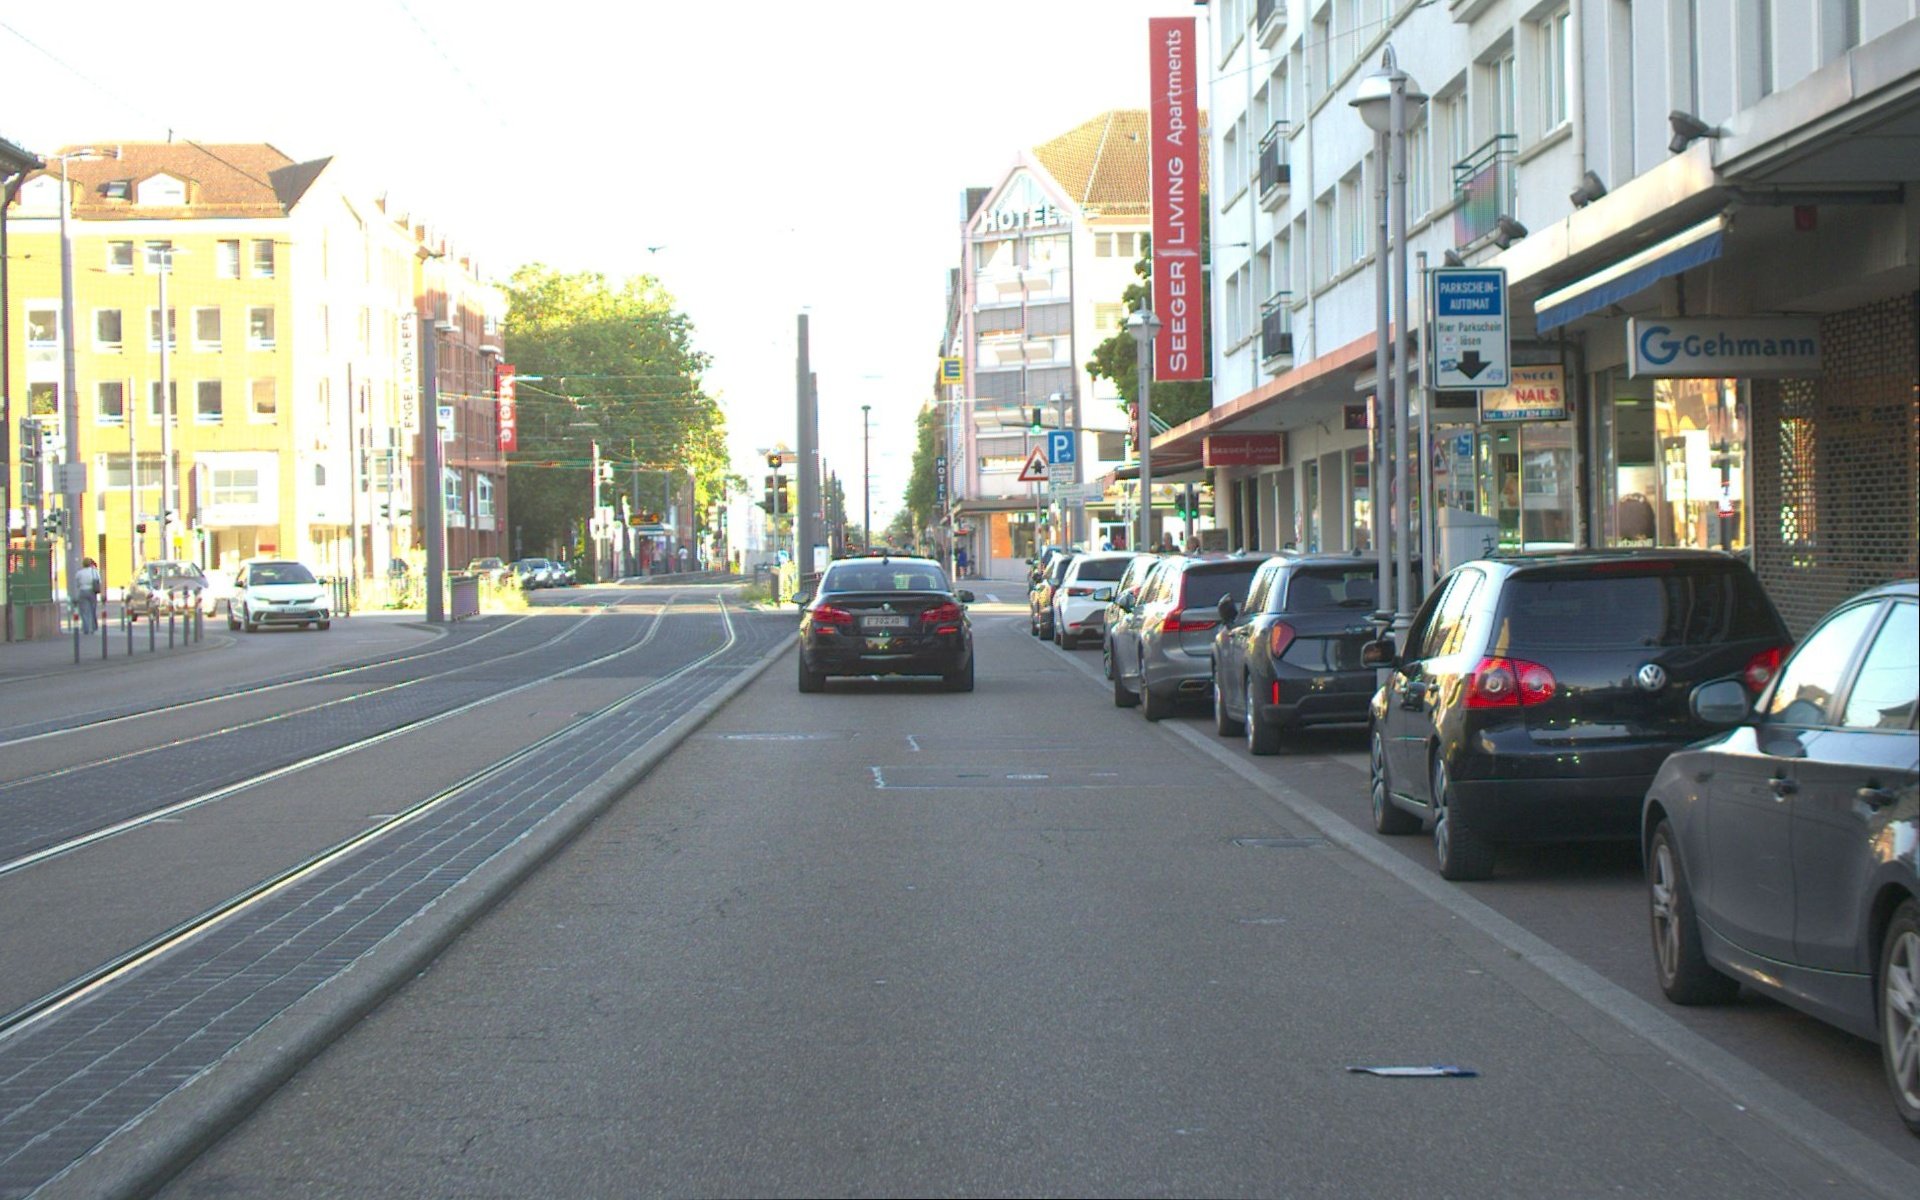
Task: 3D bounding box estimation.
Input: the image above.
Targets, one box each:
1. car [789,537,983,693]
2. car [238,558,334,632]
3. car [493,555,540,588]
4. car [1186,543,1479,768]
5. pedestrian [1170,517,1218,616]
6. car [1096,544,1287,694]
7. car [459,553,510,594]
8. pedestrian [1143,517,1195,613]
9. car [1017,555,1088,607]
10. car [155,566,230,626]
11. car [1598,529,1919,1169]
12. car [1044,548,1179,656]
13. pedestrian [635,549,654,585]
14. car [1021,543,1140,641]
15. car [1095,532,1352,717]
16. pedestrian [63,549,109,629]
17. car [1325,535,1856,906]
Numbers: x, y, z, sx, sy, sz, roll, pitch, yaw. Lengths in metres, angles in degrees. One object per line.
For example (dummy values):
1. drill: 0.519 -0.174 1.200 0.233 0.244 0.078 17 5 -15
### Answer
1. car: -0.812 0.122 37.881 1.993 1.579 4.000 -1 1 -1
2. car: -14.365 -0.126 73.105 1.805 1.507 4.036 -1 1 -14
3. car: -22.280 -1.447 172.656 1.993 1.579 4.588 -1 1 -3
4. car: 2.736 0.357 26.022 1.685 1.507 4.035 -2 1 0
5. pedestrian: 4.213 -0.608 61.989 0.728 1.735 0.863 -2 1 0
6. car: 2.508 0.163 38.186 1.735 1.507 4.303 -2 1 0
7. car: -22.413 -1.257 162.285 1.993 1.895 4.812 -1 1 -4
8. pedestrian: 3.824 -0.644 63.056 0.827 1.712 0.843 -2 1 0
9. car: 2.819 -0.600 105.787 1.993 1.546 4.000 -1 1 -1
10. car: -20.345 -0.125 91.231 1.735 1.507 4.036 -1 1 -10
11. car: 3.124 0.550 9.747 1.744 1.507 4.258 -2 1 0
12. car: 2.278 0.004 52.428 1.785 1.507 4.052 -2 1 0
13. pedestrian: -17.586 -1.854 191.713 0.988 2.007 0.726 1 0 -2
14. car: 1.980 -0.172 57.718 1.735 1.507 4.686 -2 1 0
15. car: 2.349 0.176 31.754 1.790 1.507 4.712 -2 1 -2
16. pedestrian: -17.637 -0.226 69.409 0.731 1.579 0.955 -1 1 -5
17. car: 2.896 0.478 16.664 1.720 1.507 4.167 -2 1 0
